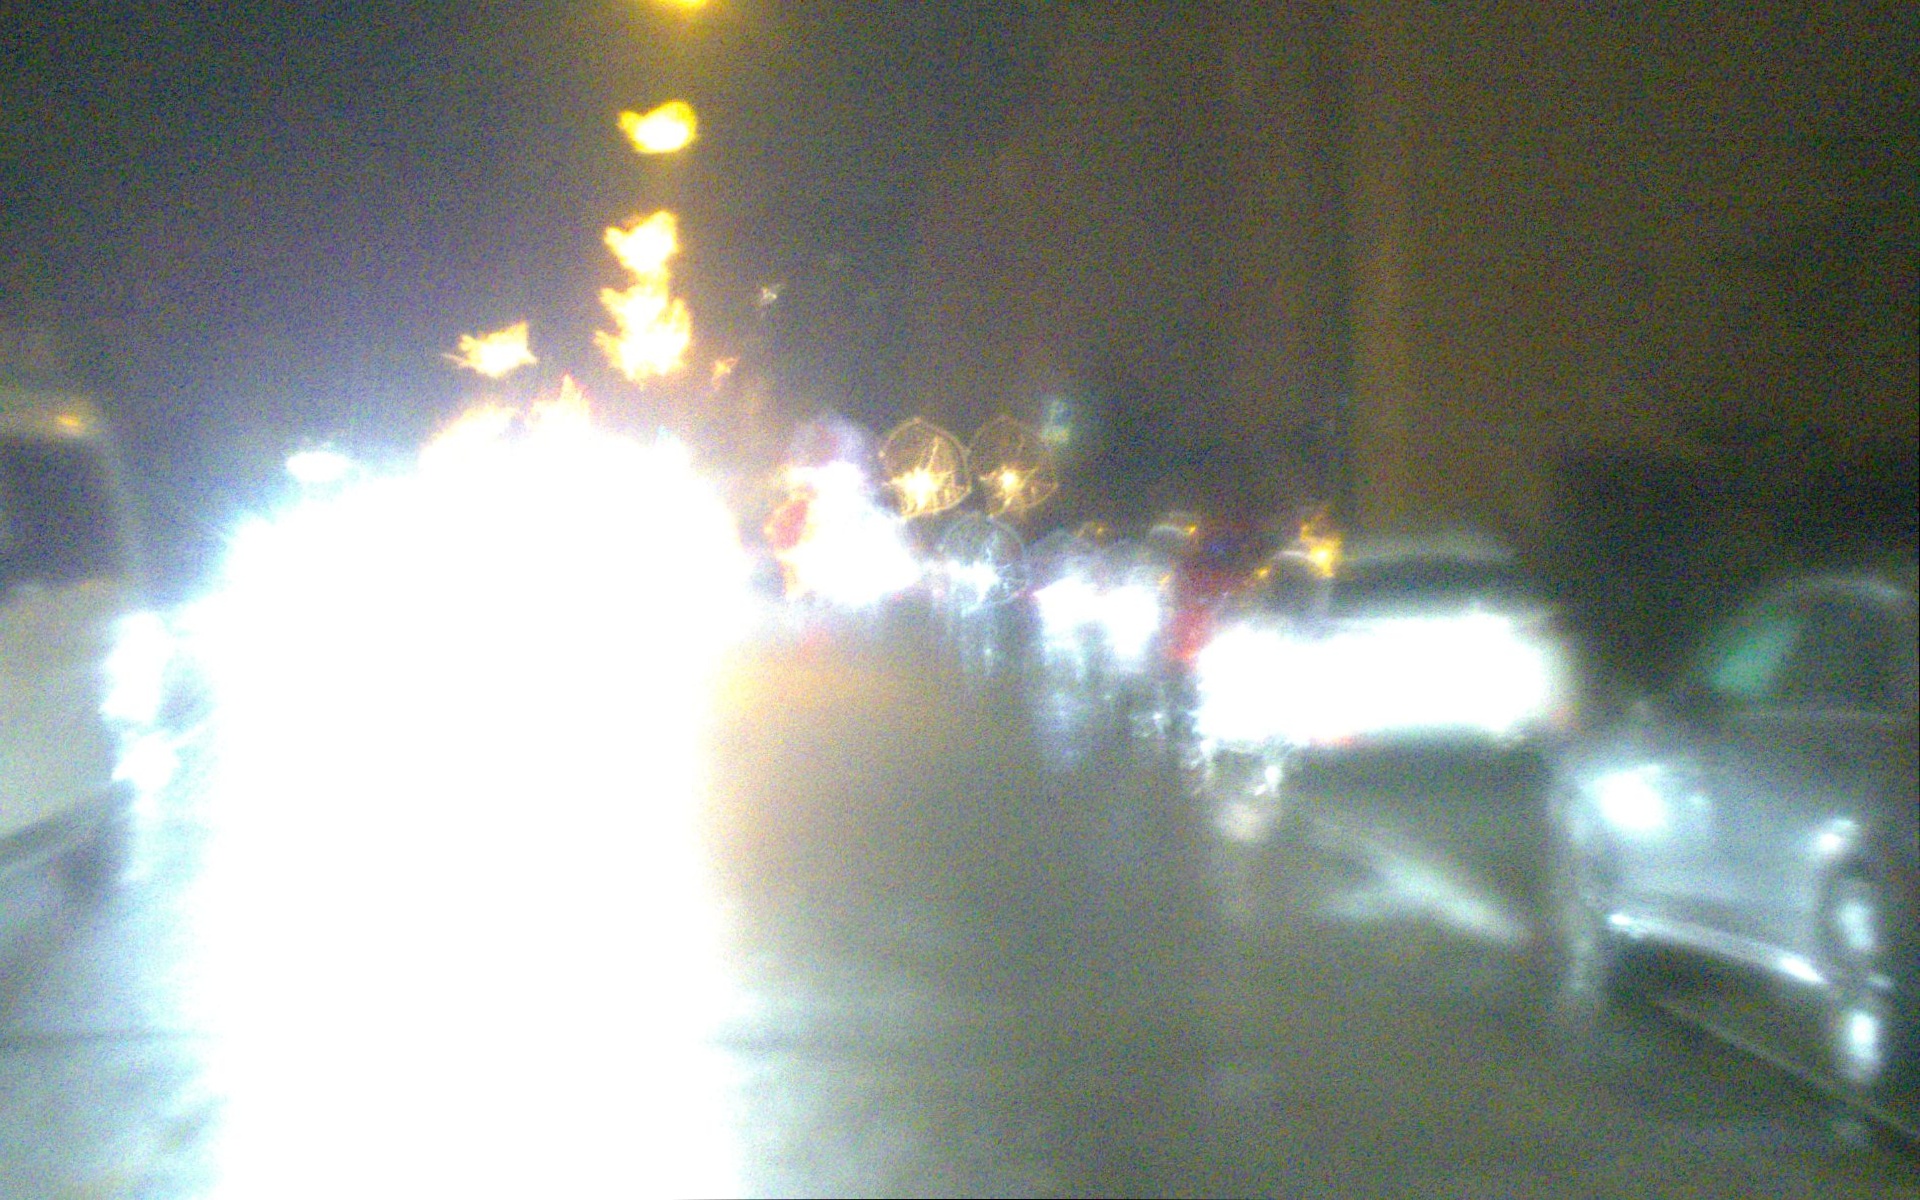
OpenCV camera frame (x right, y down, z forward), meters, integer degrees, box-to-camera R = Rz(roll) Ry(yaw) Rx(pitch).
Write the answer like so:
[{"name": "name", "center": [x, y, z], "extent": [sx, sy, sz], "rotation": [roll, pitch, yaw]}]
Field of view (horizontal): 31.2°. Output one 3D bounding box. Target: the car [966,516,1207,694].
[{"name": "car", "center": [1.161, -0.007, 33.421], "extent": [1.754, 1.523, 4.154], "rotation": [-2, 2, -5]}]

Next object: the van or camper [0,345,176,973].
[{"name": "van or camper", "center": [-4.160, 0.187, 11.965], "extent": [1.870, 2.096, 4.943], "rotation": [0, 1, -2]}]

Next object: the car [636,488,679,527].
[{"name": "car", "center": [-13.619, -4.163, 154.636], "extent": [1.812, 1.704, 3.805], "rotation": [-2, 2, -6]}]

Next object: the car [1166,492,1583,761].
[{"name": "car", "center": [2.477, 0.104, 21.633], "extent": [1.712, 1.483, 4.437], "rotation": [-1, 1, -5]}]

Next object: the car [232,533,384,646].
[{"name": "car", "center": [-9.406, -0.190, 49.898], "extent": [1.577, 1.452, 4.645], "rotation": [-3, 2, -4]}]

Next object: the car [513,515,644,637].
[{"name": "car", "center": [-5.015, -0.343, 45.478], "extent": [1.547, 1.494, 2.794], "rotation": [2, 2, -4]}]

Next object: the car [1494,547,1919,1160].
[{"name": "car", "center": [3.135, 0.614, 10.630], "extent": [1.789, 1.444, 4.792], "rotation": [-2, 2, -5]}]

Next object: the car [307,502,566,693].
[{"name": "car", "center": [-4.417, -0.077, 29.598], "extent": [1.796, 1.456, 4.579], "rotation": [2, 1, -4]}]

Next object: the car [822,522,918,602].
[{"name": "car", "center": [-1.709, -0.739, 64.542], "extent": [1.495, 1.383, 3.748], "rotation": [-2, 2, -5]}]

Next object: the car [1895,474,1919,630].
[{"name": "car", "center": [11.335, -0.478, 33.452], "extent": [3.986, 1.515, 1.686], "rotation": [-1, 2, -5]}]

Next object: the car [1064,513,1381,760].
[{"name": "car", "center": [2.001, 0.215, 27.418], "extent": [1.712, 1.702, 4.188], "rotation": [-3, 2, -6]}]

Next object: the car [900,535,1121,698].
[{"name": "car", "center": [0.500, 0.129, 38.595], "extent": [1.880, 1.567, 4.529], "rotation": [-3, 2, -6]}]

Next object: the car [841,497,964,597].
[{"name": "car", "center": [-0.955, -0.879, 54.643], "extent": [1.628, 1.461, 4.511], "rotation": [-2, 2, -4]}]

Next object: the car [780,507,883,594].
[{"name": "car", "center": [-2.676, -1.051, 70.725], "extent": [1.820, 1.668, 4.001], "rotation": [-2, 2, -6]}]

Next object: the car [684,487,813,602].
[{"name": "car", "center": [-3.403, -0.930, 55.231], "extent": [1.993, 1.678, 4.001], "rotation": [0, 3, -4]}]
